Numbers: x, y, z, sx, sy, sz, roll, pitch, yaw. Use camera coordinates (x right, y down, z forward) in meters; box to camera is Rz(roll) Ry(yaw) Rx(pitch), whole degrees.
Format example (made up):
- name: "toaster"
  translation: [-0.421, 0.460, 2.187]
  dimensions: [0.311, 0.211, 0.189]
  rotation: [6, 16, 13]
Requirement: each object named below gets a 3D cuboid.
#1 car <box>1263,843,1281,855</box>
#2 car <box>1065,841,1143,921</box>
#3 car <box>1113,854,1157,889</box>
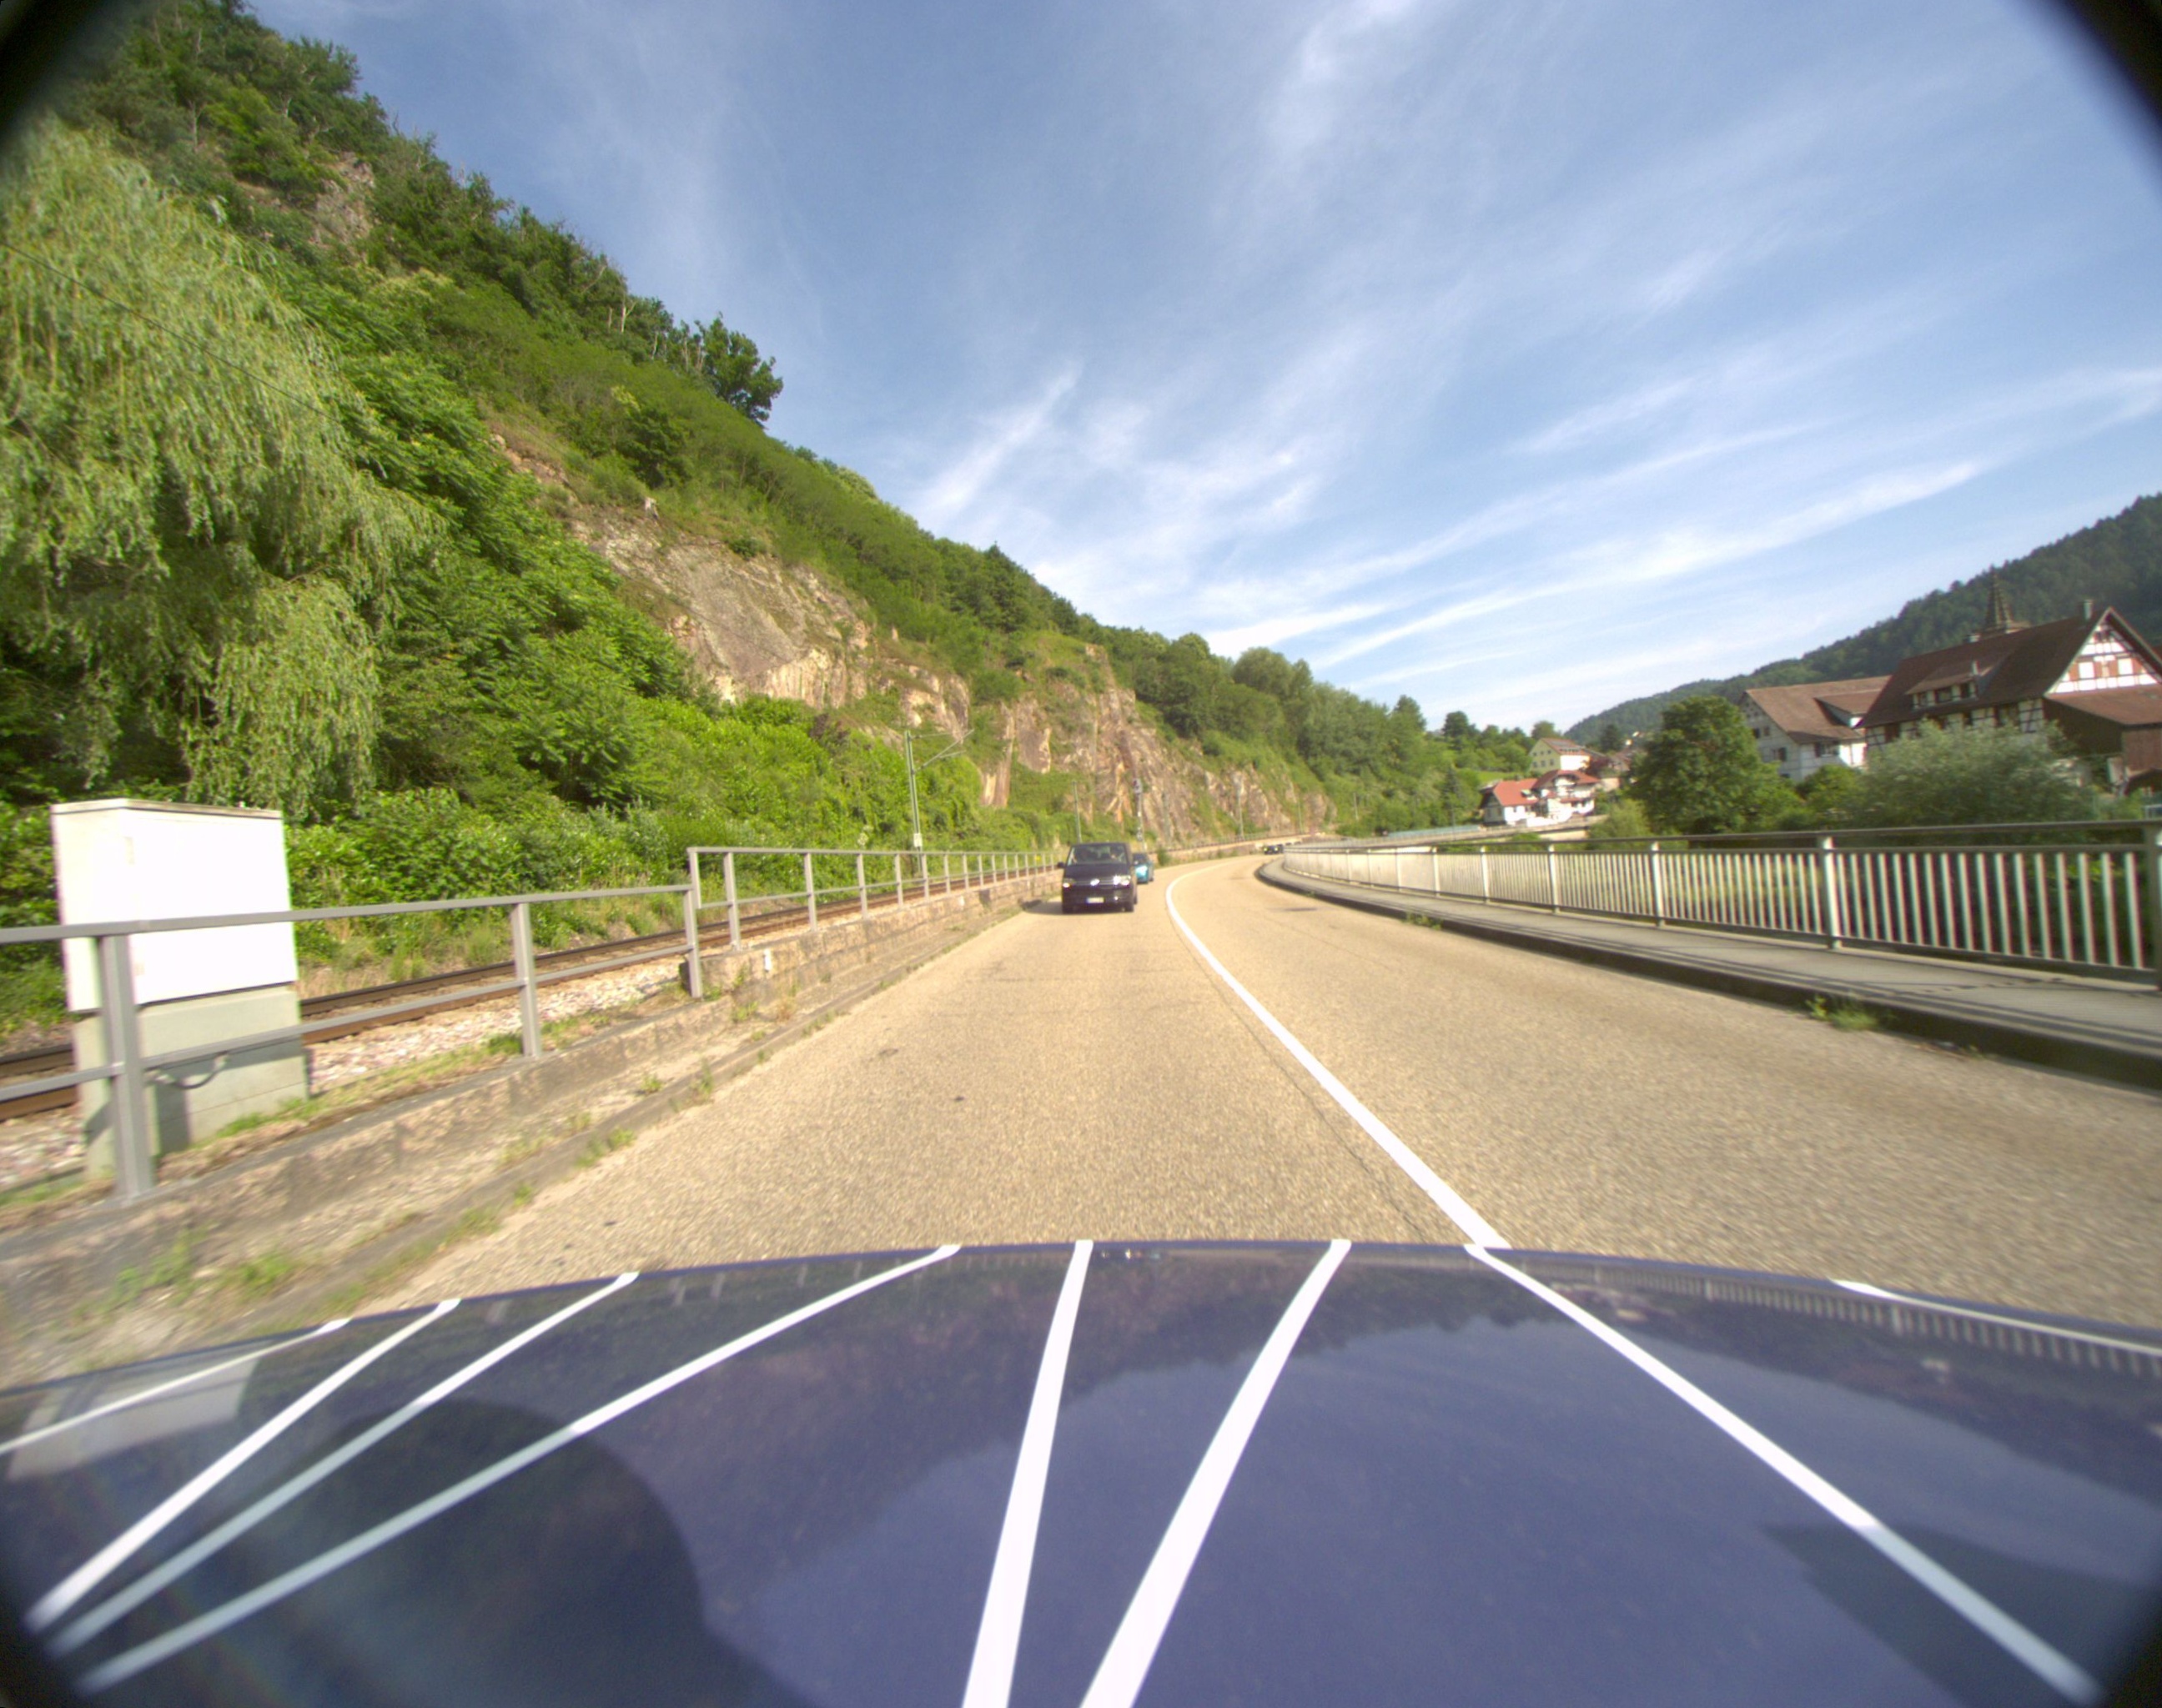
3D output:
- name: "car"
  translation: [25.511, -0.595, 101.238]
  dimensions: [1.700, 1.513, 3.479]
  rotation: [1, 0, 25]
- name: "car"
  translation: [0.779, 0.686, 21.790]
  dimensions: [1.887, 1.952, 4.867]
  rotation: [-2, 0, 5]
- name: "car"
  translation: [2.776, 0.820, 38.072]
  dimensions: [1.681, 1.513, 3.868]
  rotation: [-4, 0, 11]
